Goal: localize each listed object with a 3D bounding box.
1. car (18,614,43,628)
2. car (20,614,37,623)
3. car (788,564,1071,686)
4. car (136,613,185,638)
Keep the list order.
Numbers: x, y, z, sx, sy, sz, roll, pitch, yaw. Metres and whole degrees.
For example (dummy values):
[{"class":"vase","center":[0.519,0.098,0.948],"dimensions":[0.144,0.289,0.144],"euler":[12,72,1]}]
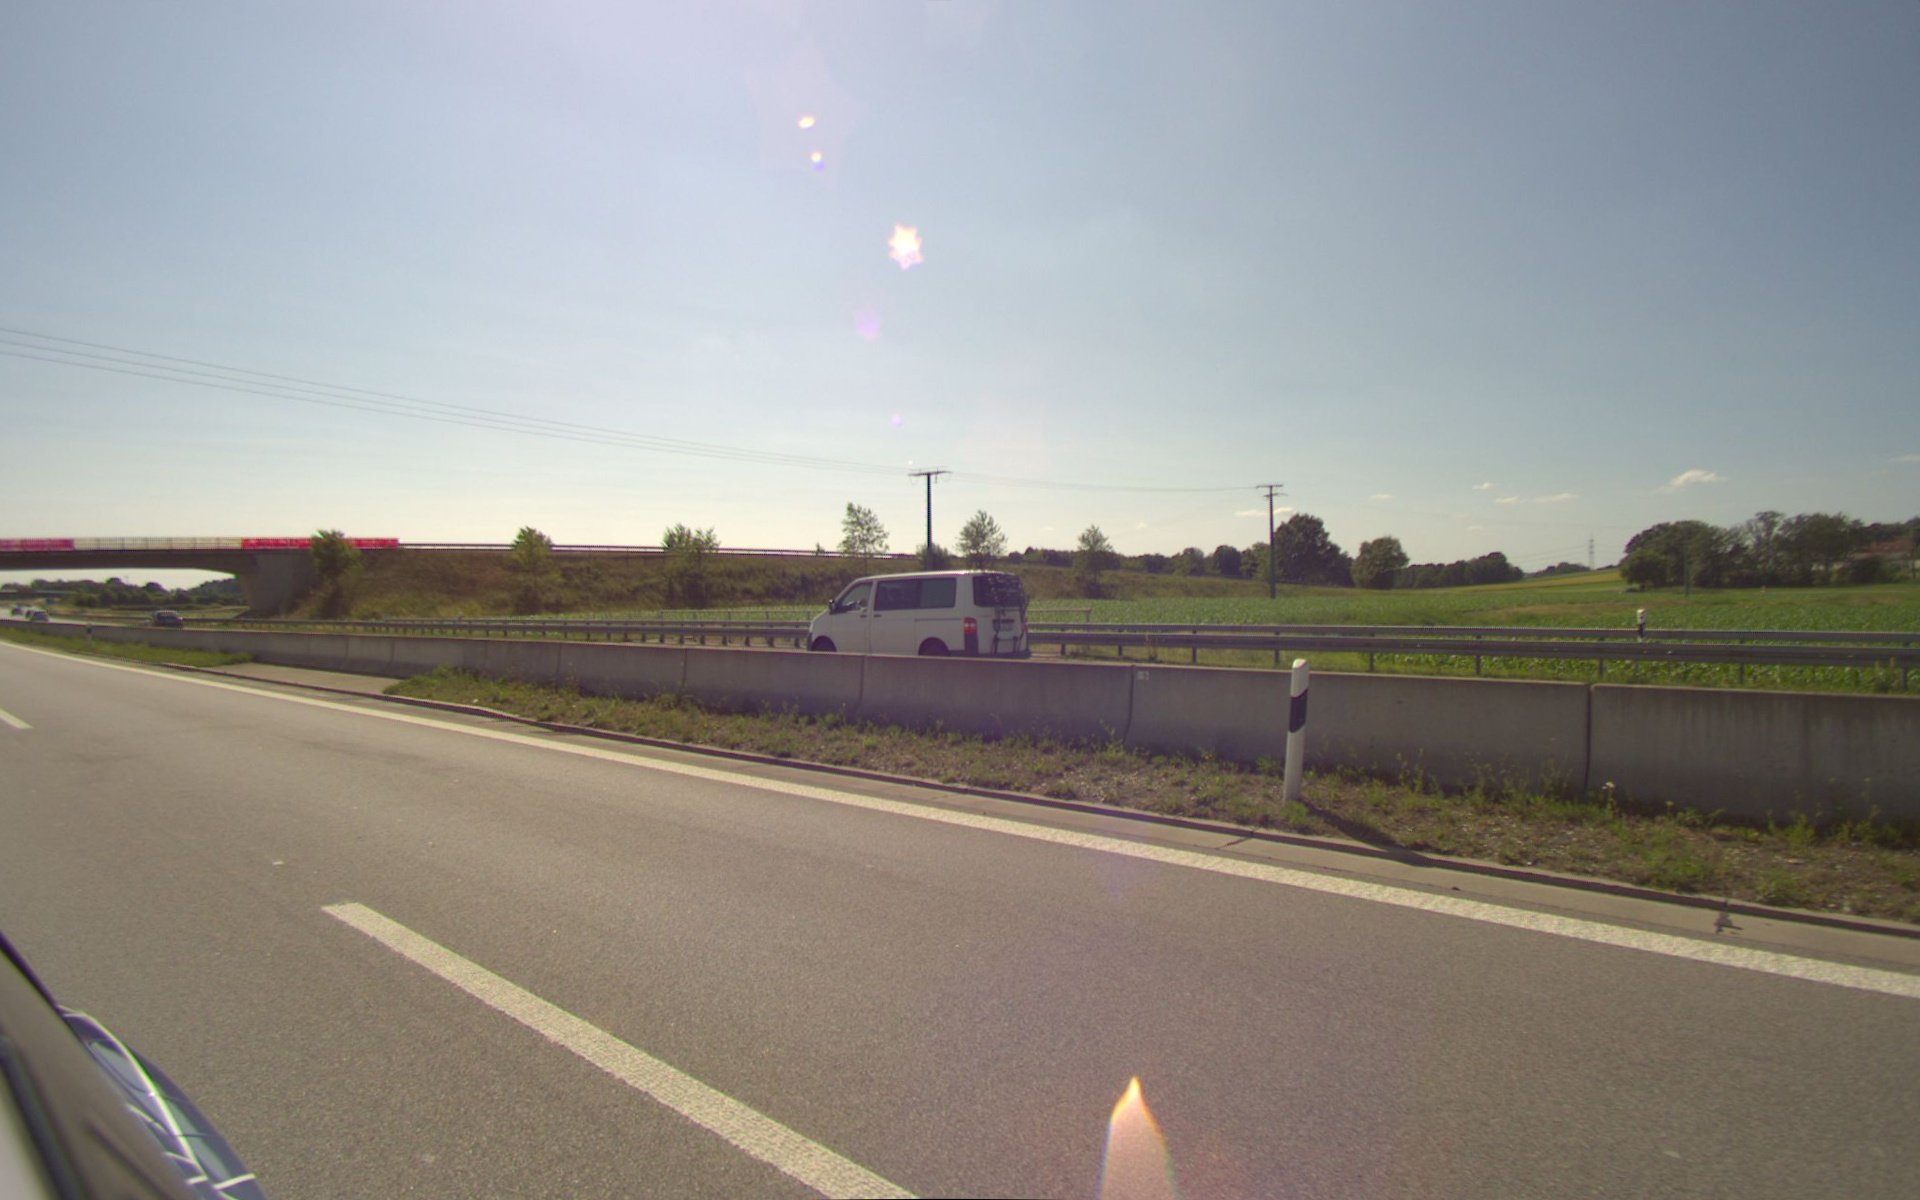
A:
[{"class":"car","center":[-119.653,2.708,130.242],"dimensions":[4.896,1.590,1.972],"euler":[0,1,43]},{"class":"car","center":[-157.099,3.129,170.610],"dimensions":[4.195,1.471,1.834],"euler":[-1,0,43]},{"class":"car","center":[-0.737,0.421,19.398],"dimensions":[5.611,2.029,1.973],"euler":[0,0,41]},{"class":"car","center":[-53.594,1.683,67.836],"dimensions":[4.585,1.525,1.840],"euler":[-1,1,42]}]
